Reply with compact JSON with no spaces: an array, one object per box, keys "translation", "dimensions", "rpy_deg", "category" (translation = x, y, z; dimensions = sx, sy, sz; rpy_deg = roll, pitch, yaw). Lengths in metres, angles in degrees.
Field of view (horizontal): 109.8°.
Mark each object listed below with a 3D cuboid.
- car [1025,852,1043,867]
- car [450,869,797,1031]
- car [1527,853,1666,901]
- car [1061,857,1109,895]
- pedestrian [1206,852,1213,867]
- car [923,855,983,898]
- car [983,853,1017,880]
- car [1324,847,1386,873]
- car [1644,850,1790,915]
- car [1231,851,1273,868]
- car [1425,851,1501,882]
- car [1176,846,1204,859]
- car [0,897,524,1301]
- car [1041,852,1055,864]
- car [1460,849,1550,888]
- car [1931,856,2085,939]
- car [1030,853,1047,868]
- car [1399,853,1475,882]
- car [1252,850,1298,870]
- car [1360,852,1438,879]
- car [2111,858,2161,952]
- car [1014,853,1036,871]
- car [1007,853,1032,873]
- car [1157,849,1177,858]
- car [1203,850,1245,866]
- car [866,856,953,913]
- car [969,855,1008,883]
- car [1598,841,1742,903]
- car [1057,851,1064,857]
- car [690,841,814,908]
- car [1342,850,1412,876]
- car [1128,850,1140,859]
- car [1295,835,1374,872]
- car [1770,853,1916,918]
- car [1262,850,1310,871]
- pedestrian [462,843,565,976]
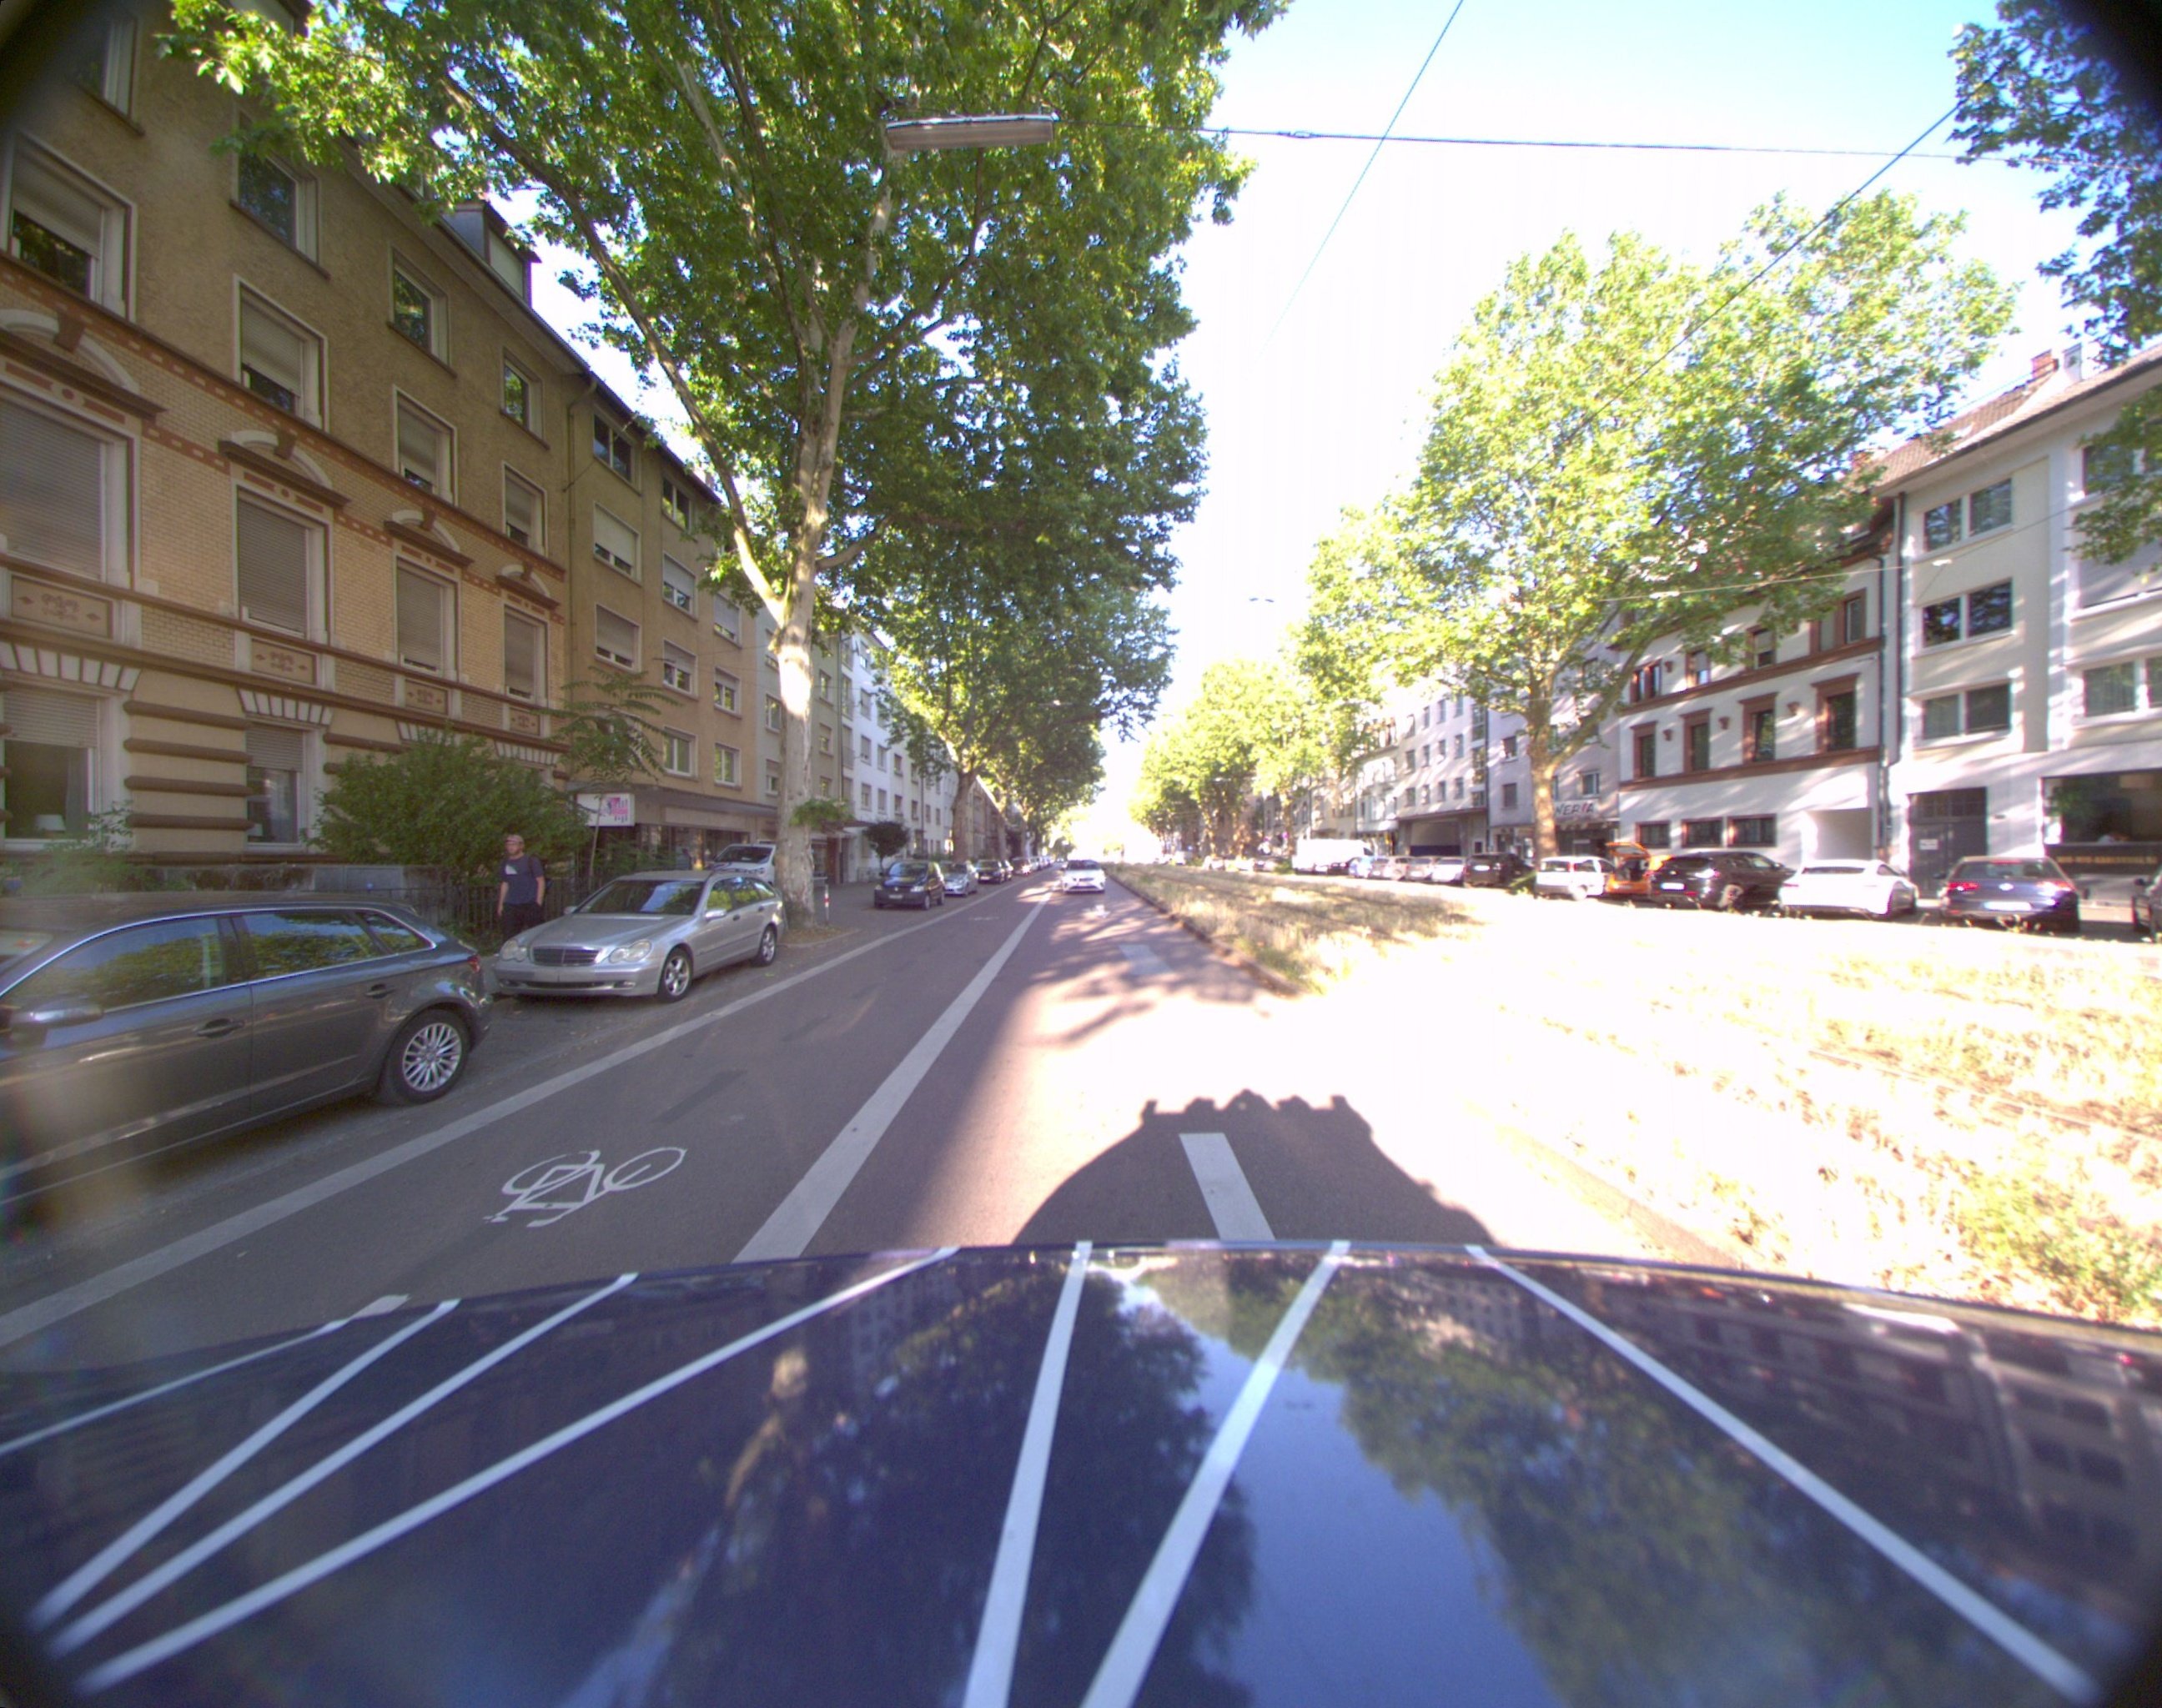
[{"translation":[-5.371,0.560,86.557],"dimensions":[1.803,1.599,4.104],"rpy_deg":[2,0,-1],"category":"car"},{"translation":[-5.380,1.003,9.792],"dimensions":[1.803,1.446,4.511],"rpy_deg":[2,0,-1],"category":"car"},{"translation":[18.054,0.765,26.641],"dimensions":[4.260,1.548,1.641],"rpy_deg":[0,1,-15],"category":"car"},{"translation":[0.136,0.885,32.099],"dimensions":[1.865,1.394,3.931],"rpy_deg":[-2,0,0],"category":"car"},{"translation":[14.104,0.576,83.403],"dimensions":[0.620,1.588,0.422],"rpy_deg":[0,1,1],"category":"pedestrian"},{"translation":[-5.335,0.898,32.258],"dimensions":[1.803,1.599,4.369],"rpy_deg":[2,0,-1],"category":"car"},{"translation":[-5.383,0.796,50.778],"dimensions":[1.803,1.599,4.369],"rpy_deg":[2,0,-1],"category":"car"},{"translation":[19.787,0.437,54.813],"dimensions":[4.005,1.805,1.995],"rpy_deg":[-1,1,-27],"category":"car"},{"translation":[18.226,0.729,21.735],"dimensions":[4.265,1.674,2.147],"rpy_deg":[-1,1,-34],"category":"car"},{"translation":[18.364,0.559,81.656],"dimensions":[4.005,1.696,1.995],"rpy_deg":[-1,1,-27],"category":"car"},{"translation":[18.976,0.591,37.689],"dimensions":[4.265,1.451,1.598],"rpy_deg":[-1,1,-36],"category":"car"},{"translation":[18.636,-0.205,129.937],"dimensions":[4.952,2.200,2.096],"rpy_deg":[-1,1,-42],"category":"car"},{"translation":[-5.198,1.060,3.627],"dimensions":[1.802,1.393,4.370],"rpy_deg":[2,0,1],"category":"car"},{"translation":[-4.746,0.604,110.174],"dimensions":[1.803,1.598,3.702],"rpy_deg":[2,0,-1],"category":"car"},{"translation":[19.025,0.612,34.053],"dimensions":[4.265,1.605,1.902],"rpy_deg":[-1,1,-36],"category":"car"},{"translation":[19.306,0.806,15.997],"dimensions":[3.979,1.495,1.827],"rpy_deg":[-1,1,-42],"category":"car"},{"translation":[-5.211,0.729,92.972],"dimensions":[1.803,1.742,4.104],"rpy_deg":[2,0,-1],"category":"car"},{"translation":[19.212,0.702,40.968],"dimensions":[4.265,1.449,1.902],"rpy_deg":[-1,1,-36],"category":"car"},{"translation":[18.656,0.557,73.037],"dimensions":[4.005,1.805,1.995],"rpy_deg":[-1,1,-27],"category":"car"},{"translation":[18.883,0.656,45.163],"dimensions":[4.004,1.509,1.996],"rpy_deg":[-1,0,-20],"category":"car"},{"translation":[19.036,0.800,12.689],"dimensions":[3.979,1.424,1.738],"rpy_deg":[-1,-1,-42],"category":"car"},{"translation":[-5.362,0.763,73.441],"dimensions":[1.803,1.599,4.104],"rpy_deg":[2,0,-1],"category":"car"},{"translation":[-5.358,0.773,66.265],"dimensions":[1.803,1.599,4.104],"rpy_deg":[2,0,-1],"category":"car"},{"translation":[17.408,-0.071,153.895],"dimensions":[3.994,1.802,1.874],"rpy_deg":[0,1,10],"category":"car"},{"translation":[15.808,0.416,83.981],"dimensions":[4.234,1.696,1.999],"rpy_deg":[0,0,-4],"category":"car"},{"translation":[-5.403,0.892,24.517],"dimensions":[1.803,1.599,4.369],"rpy_deg":[2,0,-1],"category":"car"},{"translation":[-5.458,0.843,45.480],"dimensions":[1.803,1.494,4.369],"rpy_deg":[2,0,-1],"category":"car"},{"translation":[19.491,0.552,25.171],"dimensions":[4.260,1.932,1.514],"rpy_deg":[0,1,-15],"category":"car"},{"translation":[-6.955,0.060,255.791],"dimensions":[1.998,2.002,4.000],"rpy_deg":[-2,1,1],"category":"car"},{"translation":[-10.370,0.585,24.387],"dimensions":[1.933,1.864,4.677],"rpy_deg":[2,0,-1],"category":"car"},{"translation":[18.795,0.541,48.290],"dimensions":[4.005,1.608,1.995],"rpy_deg":[-1,1,-27],"category":"car"},{"translation":[15.121,0.074,218.509],"dimensions":[2.963,2.407,6.327],"rpy_deg":[-2,1,1],"category":"car"},{"translation":[19.211,-0.040,57.555],"dimensions":[5.619,2.684,2.176],"rpy_deg":[-1,1,-24],"category":"car"},{"translation":[18.549,0.678,18.437],"dimensions":[4.266,1.369,2.147],"rpy_deg":[-1,0,-40],"category":"car"},{"translation":[18.833,0.566,69.765],"dimensions":[4.005,1.805,1.995],"rpy_deg":[-1,1,-27],"category":"car"},{"translation":[-7.586,0.709,10.190],"dimensions":[0.728,1.701,0.816],"rpy_deg":[2,1,0],"category":"pedestrian"}]
